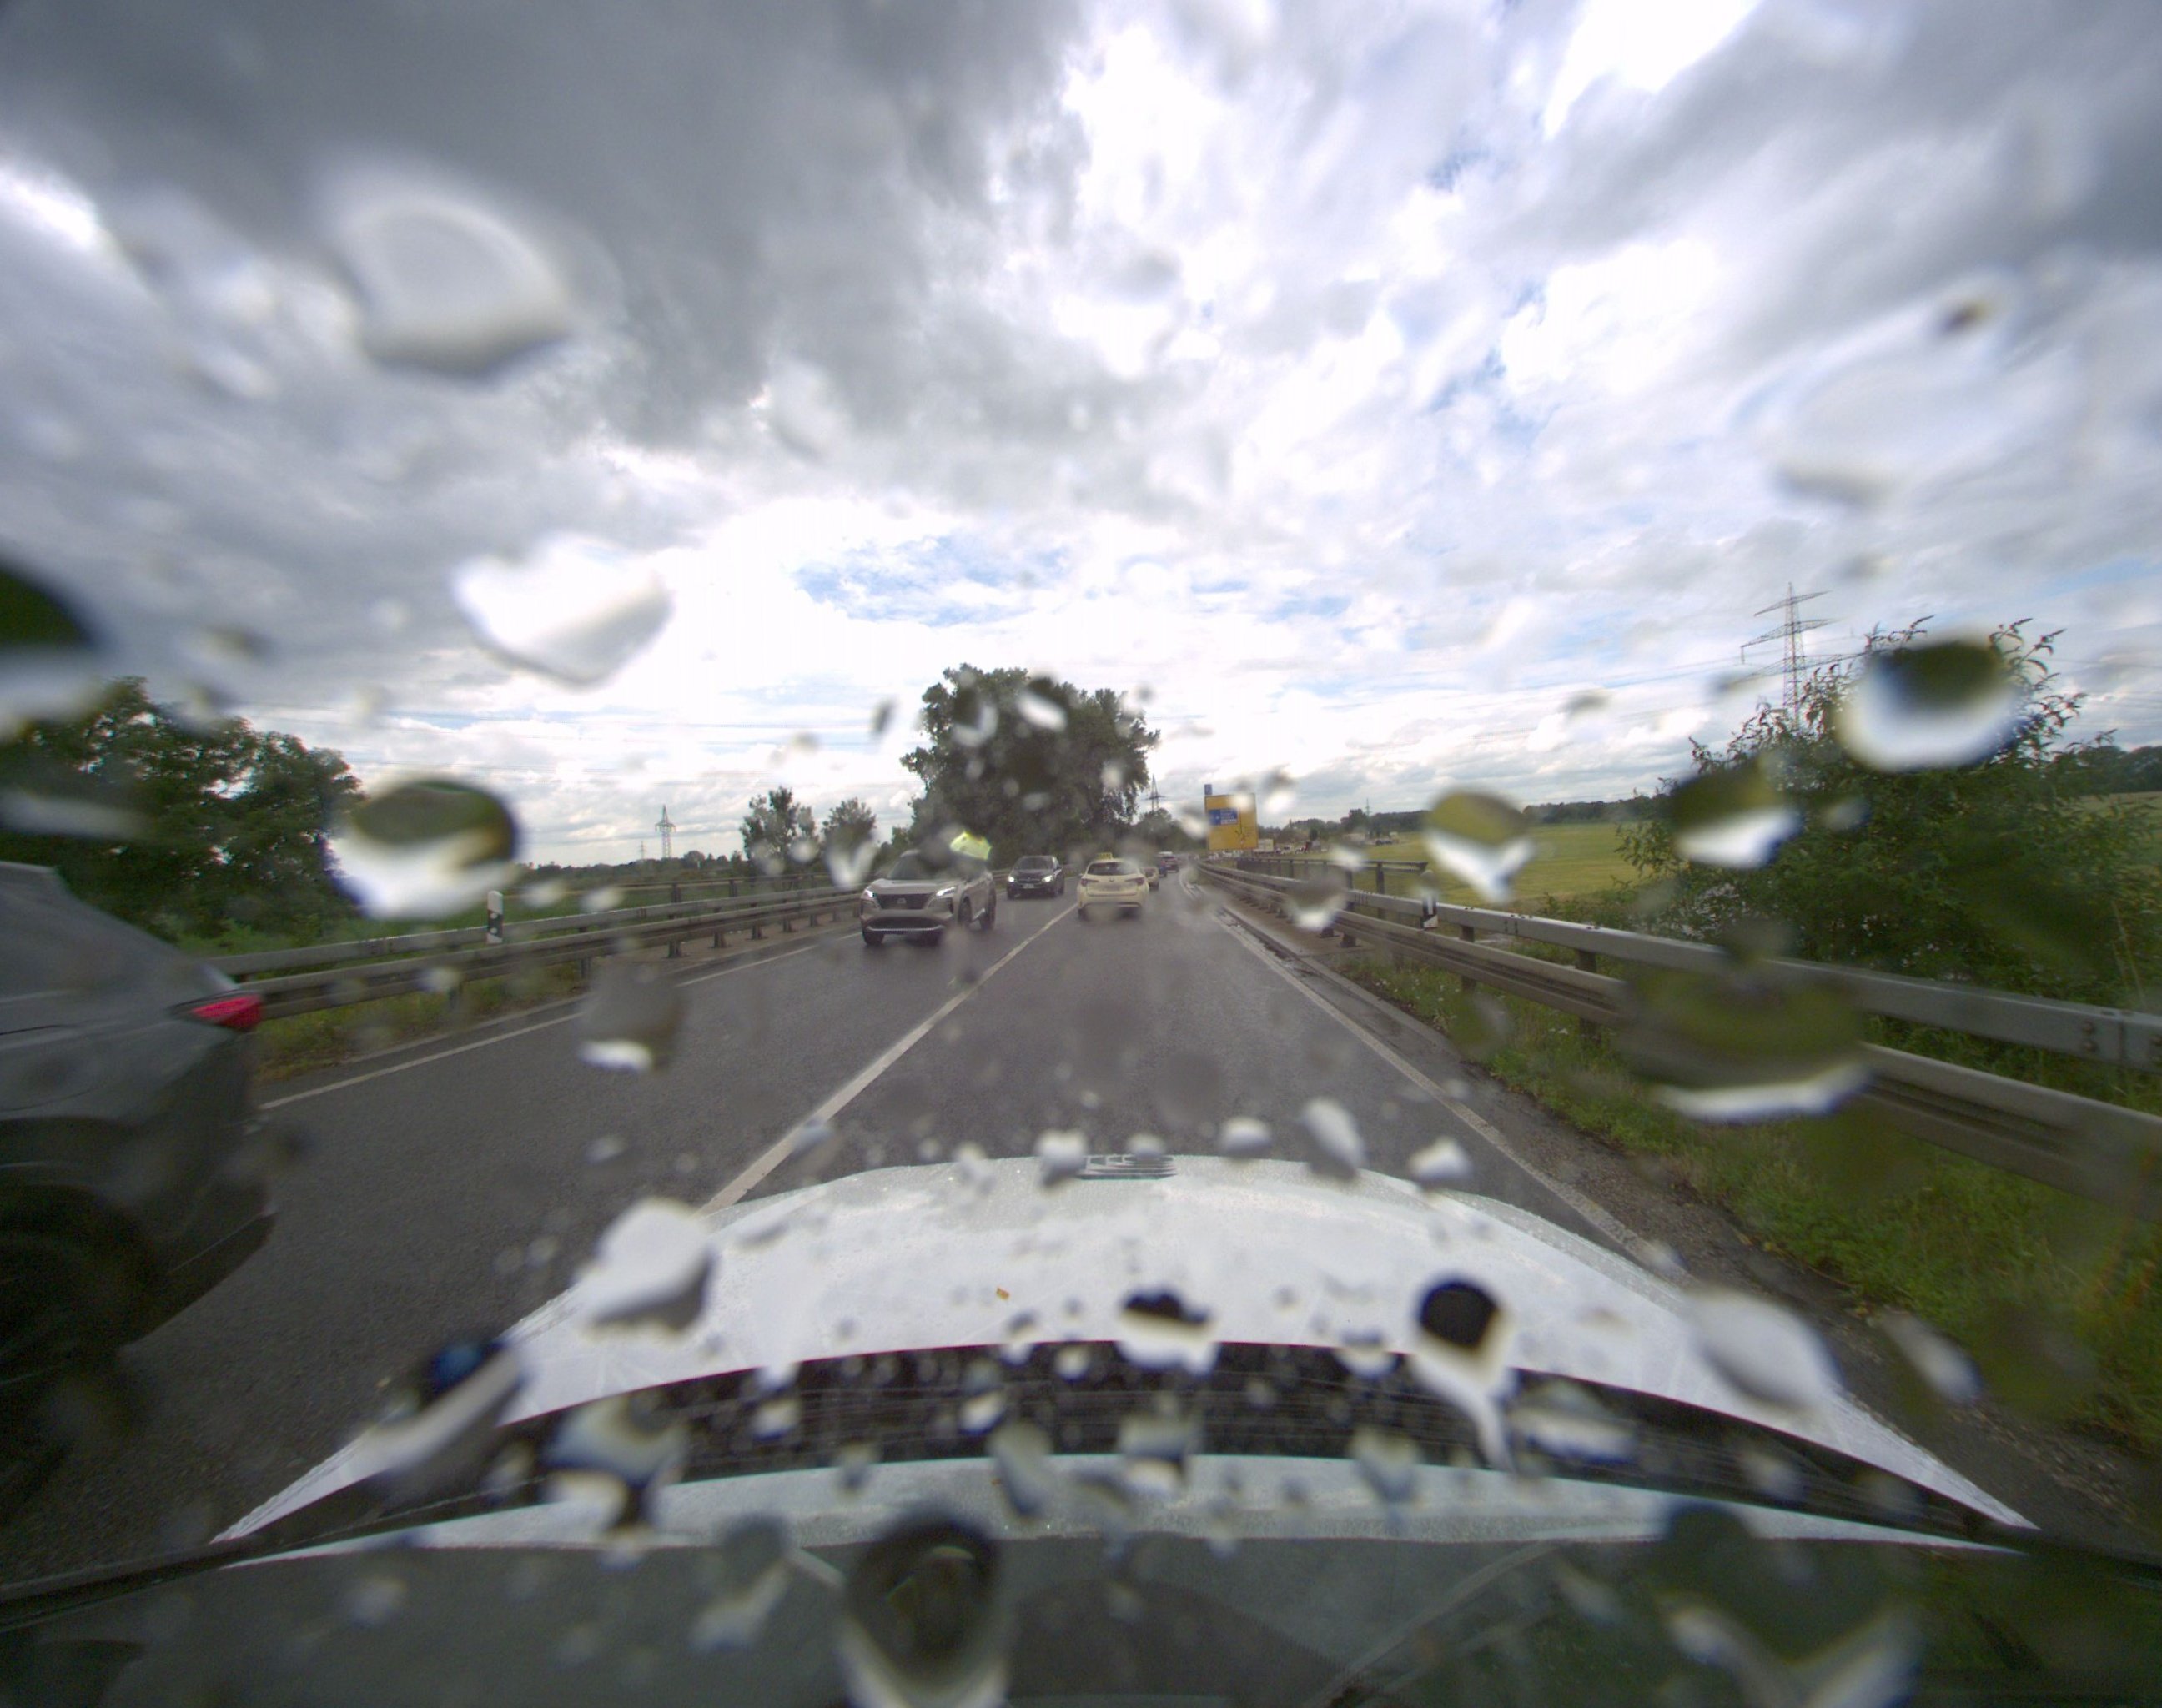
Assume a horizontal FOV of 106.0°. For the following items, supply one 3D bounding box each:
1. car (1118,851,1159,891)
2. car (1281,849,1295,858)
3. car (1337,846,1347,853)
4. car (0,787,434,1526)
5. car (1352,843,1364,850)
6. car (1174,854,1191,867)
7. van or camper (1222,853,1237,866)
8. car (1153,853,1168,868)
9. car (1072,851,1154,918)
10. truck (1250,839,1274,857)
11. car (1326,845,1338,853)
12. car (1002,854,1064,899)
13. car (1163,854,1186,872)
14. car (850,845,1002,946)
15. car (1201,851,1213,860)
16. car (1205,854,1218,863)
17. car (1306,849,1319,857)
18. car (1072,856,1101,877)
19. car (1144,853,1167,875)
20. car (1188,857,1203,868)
[{"bbox_3d":[2.514,0.712,34.730,1.570,1.572,3.687,-1,-1,6],"label":"car"},{"bbox_3d":[47.656,-0.058,187.238,2.146,2.014,4.025,-1,-1,30],"label":"car"},{"bbox_3d":[71.241,-1.229,222.325,1.974,2.014,4.025,-1,-1,30],"label":"car"},{"bbox_3d":[-3.344,0.698,0.737,1.739,1.654,4.527,-1,0,2],"label":"car"},{"bbox_3d":[78.346,-2.118,230.563,1.974,2.014,4.025,-2,-1,39],"label":"car"},{"bbox_3d":[11.606,0.752,92.762,1.650,1.409,3.914,-1,-1,10],"label":"car"},{"bbox_3d":[25.590,0.927,140.546,1.978,2.254,4.018,-1,-1,17],"label":"van or camper"},{"bbox_3d":[10.536,0.821,107.644,1.851,1.892,4.500,-1,0,8],"label":"car"},{"bbox_3d":[0.879,0.736,21.345,1.898,1.537,4.165,-1,-1,3],"label":"car"},{"bbox_3d":[37.319,-1.237,167.557,3.111,3.562,7.565,-1,-1,25],"label":"truck"},{"bbox_3d":[66.121,-1.262,214.784,2.204,2.014,4.025,-1,-1,30],"label":"car"},{"bbox_3d":[-1.745,0.805,31.032,1.891,1.541,4.026,-1,0,3],"label":"car"},{"bbox_3d":[8.038,0.788,69.604,1.654,1.464,3.487,-1,-1,11],"label":"car"},{"bbox_3d":[-2.829,0.683,15.935,1.833,1.700,4.394,-1,0,4],"label":"car"},{"bbox_3d":[24.166,0.308,155.945,1.504,1.721,3.438,-1,-1,21],"label":"car"},{"bbox_3d":[20.055,0.725,125.035,1.470,1.309,3.494,-1,-1,19],"label":"car"},{"bbox_3d":[57.537,-0.230,202.415,1.974,2.014,4.025,-1,-1,31],"label":"car"},{"bbox_3d":[0.421,0.871,59.396,1.826,1.443,4.108,-1,-1,4],"label":"car"},{"bbox_3d":[5.015,0.666,55.065,1.499,1.437,3.359,-1,-1,4],"label":"car"},{"bbox_3d":[15.157,1.106,107.615,1.472,1.309,3.490,-1,-1,15],"label":"car"}]
